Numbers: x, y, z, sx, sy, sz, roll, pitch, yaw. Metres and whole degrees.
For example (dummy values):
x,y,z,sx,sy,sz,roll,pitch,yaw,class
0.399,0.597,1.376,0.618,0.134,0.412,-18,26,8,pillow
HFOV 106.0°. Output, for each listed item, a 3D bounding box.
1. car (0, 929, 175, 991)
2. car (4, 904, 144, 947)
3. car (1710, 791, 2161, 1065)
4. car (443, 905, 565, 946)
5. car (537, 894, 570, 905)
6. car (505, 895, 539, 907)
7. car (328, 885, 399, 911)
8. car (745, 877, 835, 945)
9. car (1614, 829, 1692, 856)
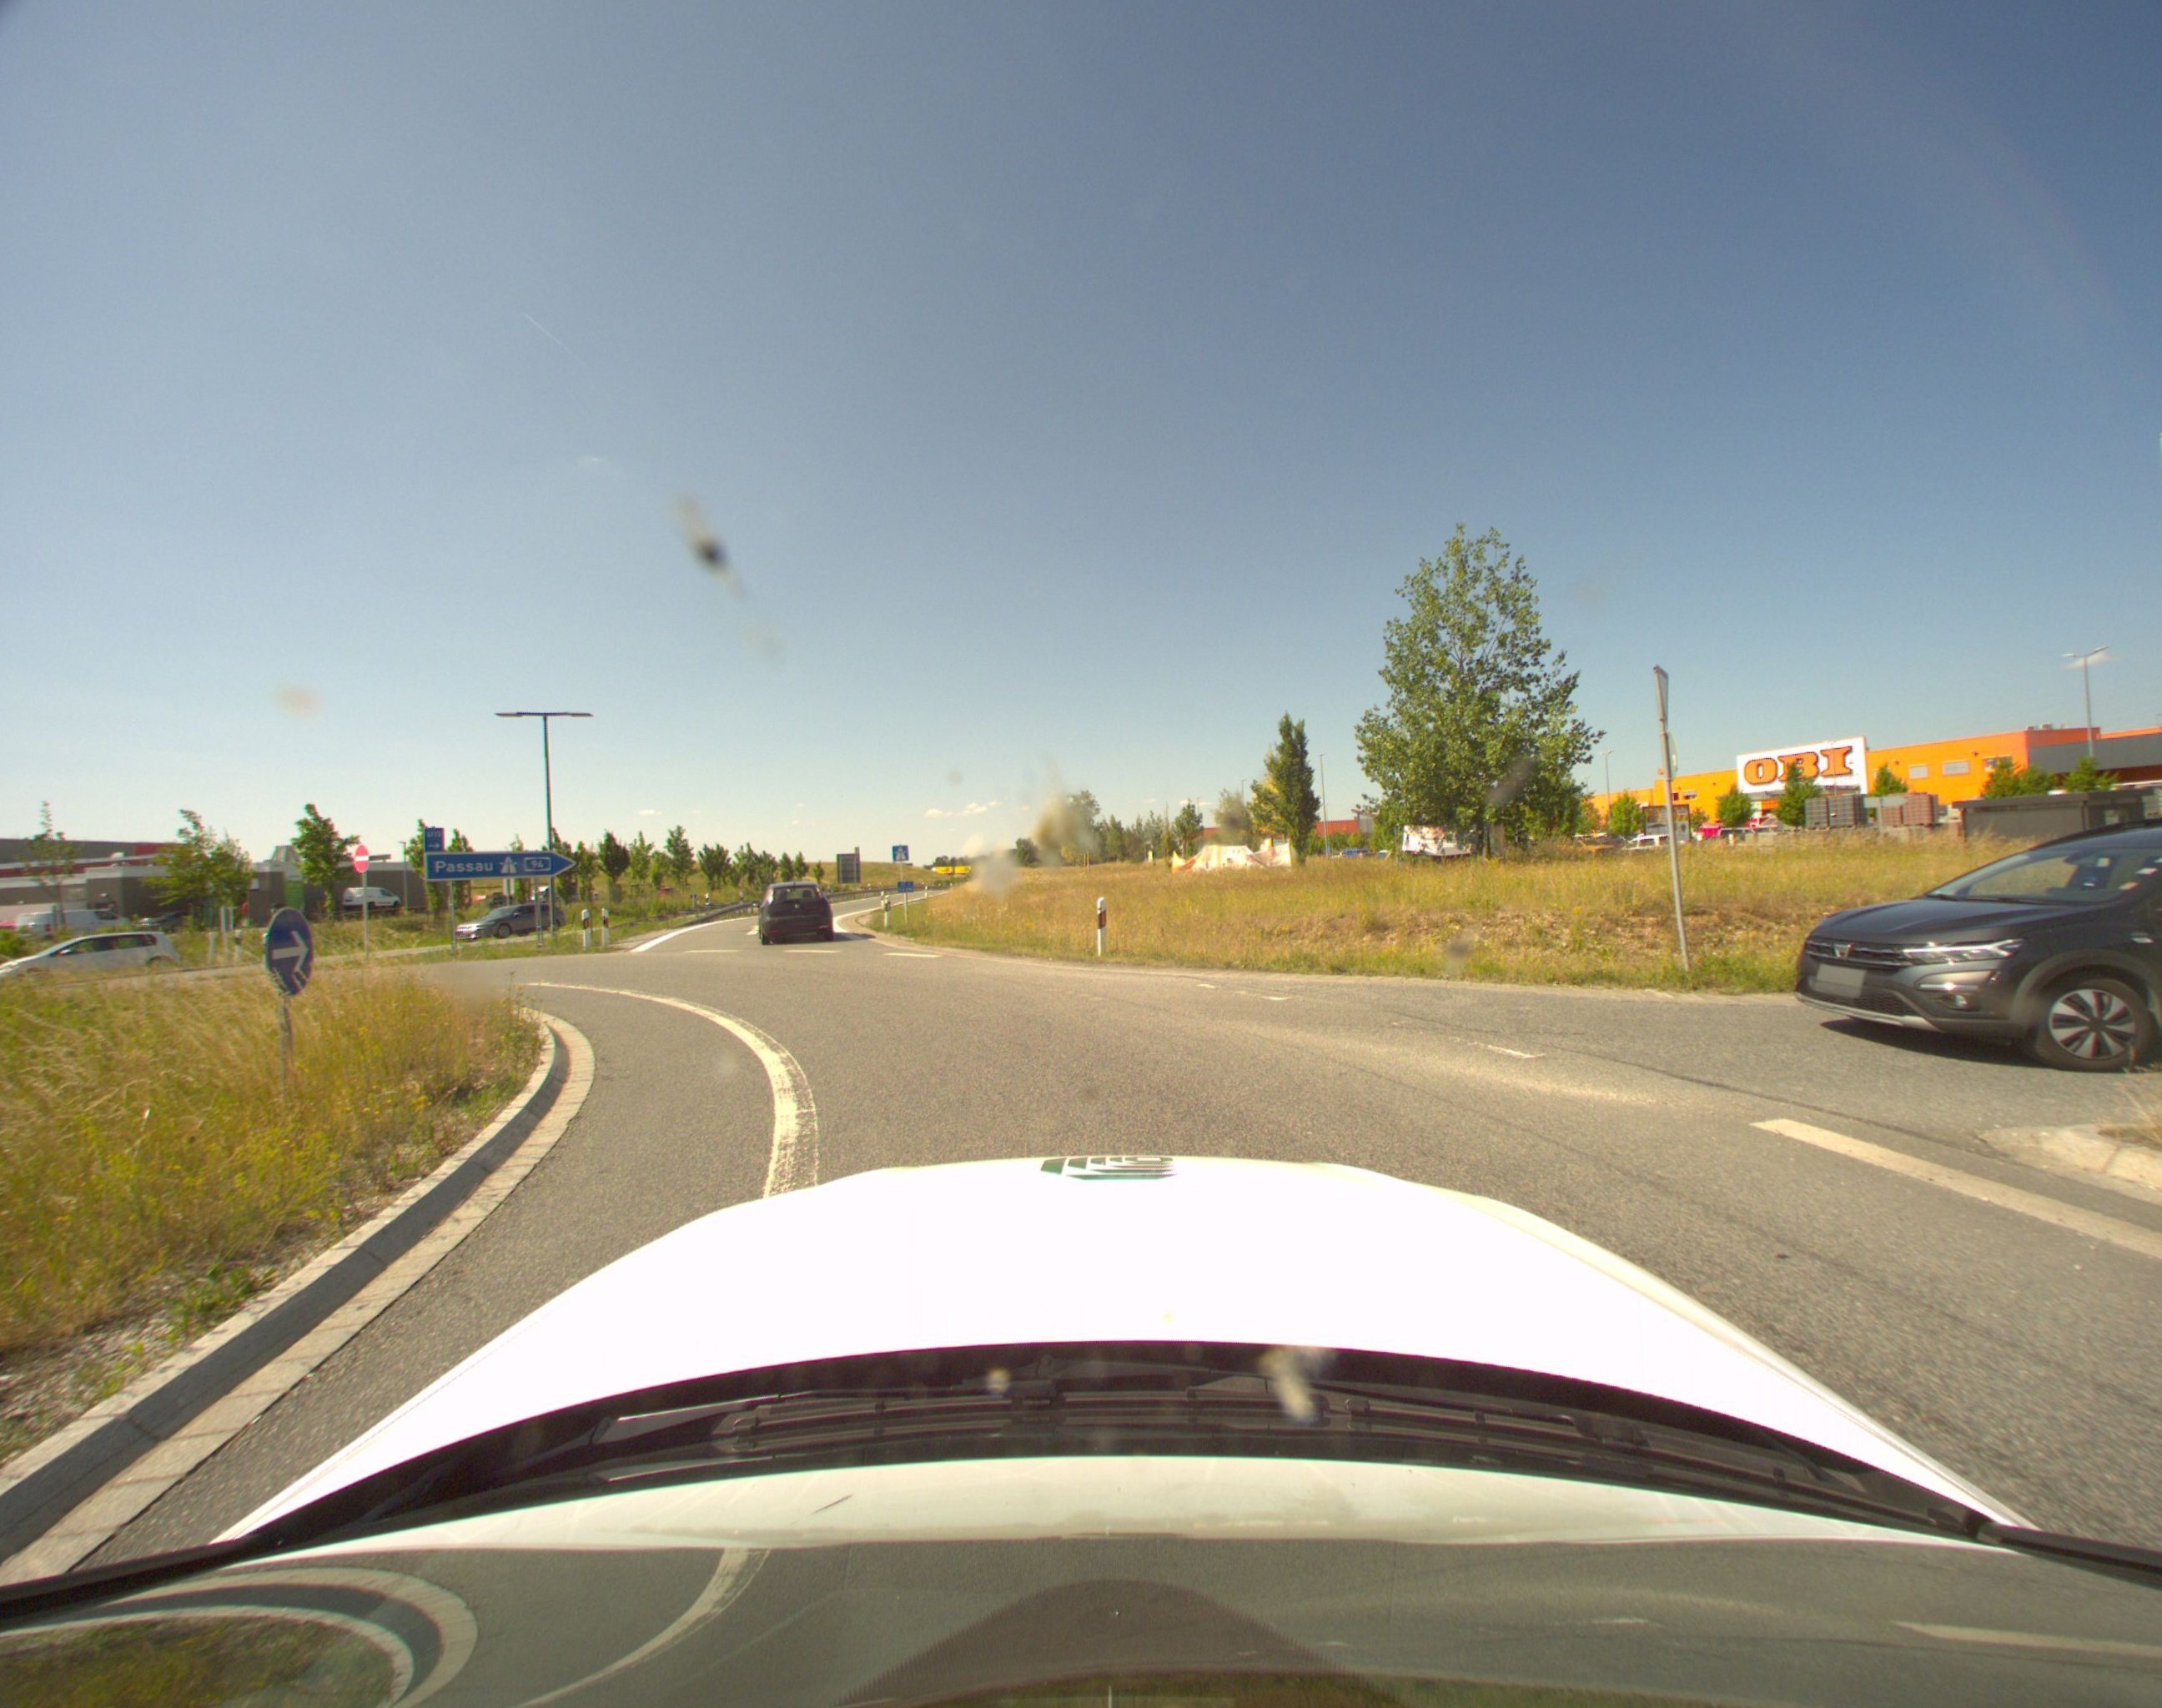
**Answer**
x,y,z,sx,sy,sz,roll,pitch,yaw,class
-30.345,3.160,24.580,1.673,1.413,3.603,-4,-1,24,car
-59.183,4.169,48.035,1.990,2.013,5.128,-3,-1,-4,car
7.766,0.451,5.978,4.588,1.706,1.961,-2,-2,7,car
-25.810,3.161,36.653,1.676,1.413,4.383,-3,-1,14,car
-58.495,5.063,90.311,2.699,1.009,1.378,-3,-1,-9,car
-60.670,5.099,88.410,2.699,1.009,1.243,-3,-1,-9,car
-55.410,3.389,62.978,1.989,1.732,3.996,-3,-1,-2,car
-7.506,1.402,20.812,1.649,1.488,3.869,-2,-1,-27,car
39.767,-0.768,56.710,1.999,1.618,3.976,-3,-1,-17,car
